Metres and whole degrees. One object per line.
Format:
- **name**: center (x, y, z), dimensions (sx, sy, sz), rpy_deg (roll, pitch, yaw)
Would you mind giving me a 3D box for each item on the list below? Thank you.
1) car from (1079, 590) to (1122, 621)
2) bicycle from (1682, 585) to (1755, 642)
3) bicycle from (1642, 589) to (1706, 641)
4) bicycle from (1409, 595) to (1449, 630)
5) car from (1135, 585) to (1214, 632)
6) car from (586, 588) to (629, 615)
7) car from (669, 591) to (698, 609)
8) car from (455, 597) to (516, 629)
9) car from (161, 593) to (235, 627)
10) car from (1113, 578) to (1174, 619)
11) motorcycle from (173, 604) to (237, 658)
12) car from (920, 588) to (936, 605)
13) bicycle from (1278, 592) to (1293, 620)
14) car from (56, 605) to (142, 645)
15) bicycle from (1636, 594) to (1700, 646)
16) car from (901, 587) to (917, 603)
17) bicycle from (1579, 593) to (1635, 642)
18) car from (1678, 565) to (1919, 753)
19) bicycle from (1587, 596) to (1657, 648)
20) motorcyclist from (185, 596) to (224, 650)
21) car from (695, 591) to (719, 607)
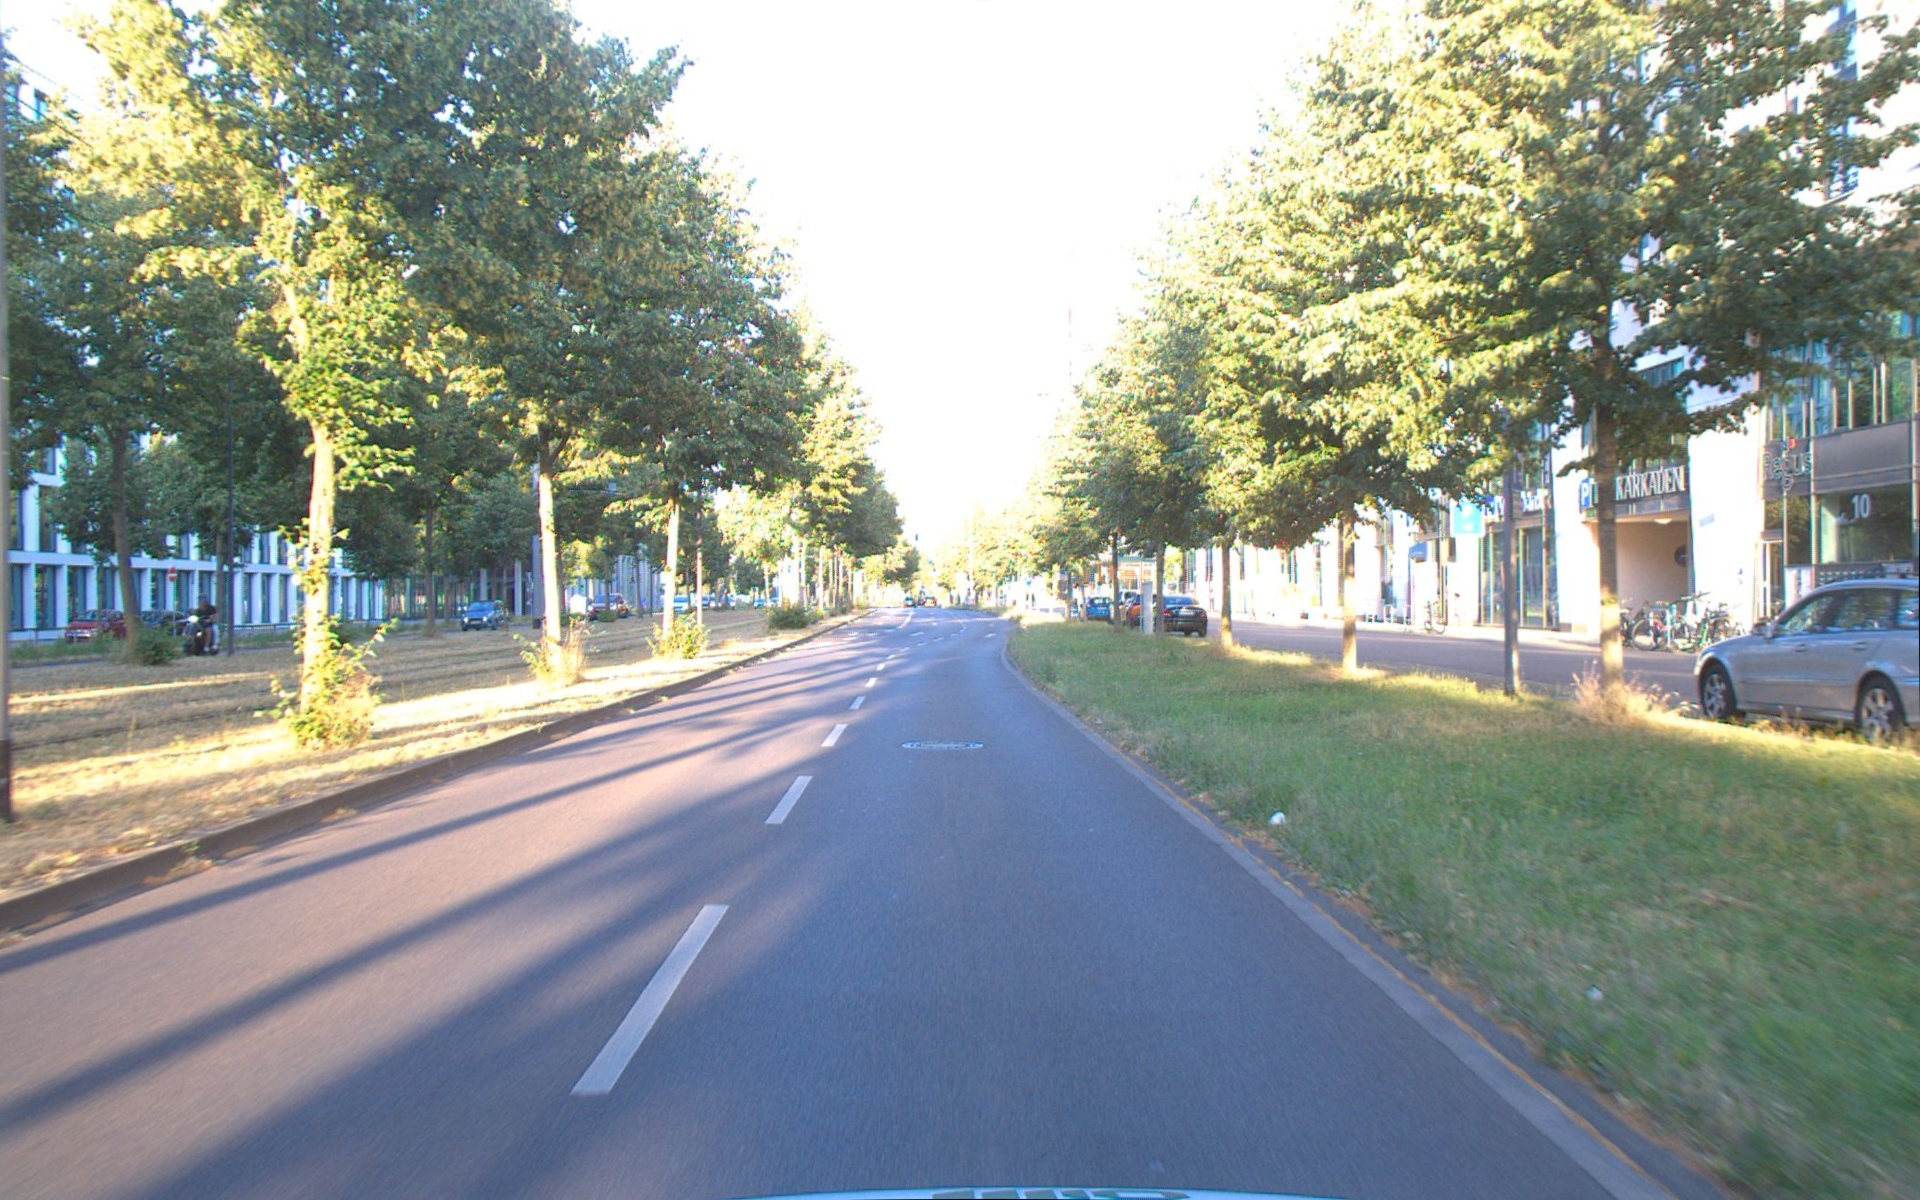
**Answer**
- **car**: center (7.188, 0.258, 84.882), dimensions (1.689, 1.556, 4.267), rpy_deg (1, 0, -2)
- **bicycle**: center (15.059, 0.251, 32.867), dimensions (0.522, 1.079, 1.856), rpy_deg (-3, 1, -1)
- **bicycle**: center (15.667, 0.316, 36.326), dimensions (0.522, 1.079, 1.856), rpy_deg (-3, 0, -1)
- **bicycle**: center (14.722, 0.390, 51.982), dimensions (0.639, 1.057, 2.055), rpy_deg (-1, 0, -1)
- **car**: center (7.551, 0.284, 58.634), dimensions (1.905, 1.576, 4.809), rpy_deg (-1, 0, -3)
- **car**: center (-21.252, 0.073, 99.918), dimensions (1.847, 1.605, 4.180), rpy_deg (-1, 0, -3)
- **car**: center (-21.495, -0.001, 128.734), dimensions (1.624, 1.355, 4.527), rpy_deg (-1, 0, -3)
- **car**: center (-23.758, 0.624, 82.939), dimensions (1.879, 1.534, 4.286), rpy_deg (-1, 0, -1)
- **car**: center (-36.809, 0.457, 79.943), dimensions (1.822, 1.609, 3.784), rpy_deg (0, 0, 0)
- **car**: center (7.299, -0.079, 66.164), dimensions (1.817, 1.556, 4.481), rpy_deg (1, 0, -2)
- **motorcycle**: center (-19.922, 0.805, 43.683), dimensions (0.668, 1.360, 2.344), rpy_deg (-1, 0, -2)
- **car**: center (-4.062, -0.432, 207.173), dimensions (1.953, 2.049, 3.999), rpy_deg (-1, 0, -2)
- **bicycle**: center (14.267, 0.254, 72.537), dimensions (0.558, 1.144, 1.835), rpy_deg (-3, 1, 10)
- **car**: center (-36.404, 1.055, 70.022), dimensions (1.822, 1.609, 3.492), rpy_deg (0, 0, 0)
- **bicycle**: center (15.119, 0.413, 35.365), dimensions (0.522, 1.079, 1.856), rpy_deg (-1, 0, -1)
- **car**: center (-6.873, -0.646, 222.416), dimensions (2.045, 2.049, 3.999), rpy_deg (-1, 0, -2)
- **bicycle**: center (15.031, 0.399, 38.472), dimensions (0.522, 1.079, 1.856), rpy_deg (-3, 1, -1)
- **car**: center (8.602, 0.452, 15.216), dimensions (1.772, 1.527, 4.823), rpy_deg (-1, 1, -2)
- **bicycle**: center (14.438, 0.459, 36.103), dimensions (0.523, 1.079, 1.776), rpy_deg (-3, 1, -10)
- **motorcyclist**: center (-19.922, 0.590, 43.622), dimensions (0.667, 1.399, 0.804), rpy_deg (-1, 0, -2)
- **car**: center (-22.818, -0.077, 149.079), dimensions (1.624, 1.355, 4.739), rpy_deg (-1, 0, -3)
